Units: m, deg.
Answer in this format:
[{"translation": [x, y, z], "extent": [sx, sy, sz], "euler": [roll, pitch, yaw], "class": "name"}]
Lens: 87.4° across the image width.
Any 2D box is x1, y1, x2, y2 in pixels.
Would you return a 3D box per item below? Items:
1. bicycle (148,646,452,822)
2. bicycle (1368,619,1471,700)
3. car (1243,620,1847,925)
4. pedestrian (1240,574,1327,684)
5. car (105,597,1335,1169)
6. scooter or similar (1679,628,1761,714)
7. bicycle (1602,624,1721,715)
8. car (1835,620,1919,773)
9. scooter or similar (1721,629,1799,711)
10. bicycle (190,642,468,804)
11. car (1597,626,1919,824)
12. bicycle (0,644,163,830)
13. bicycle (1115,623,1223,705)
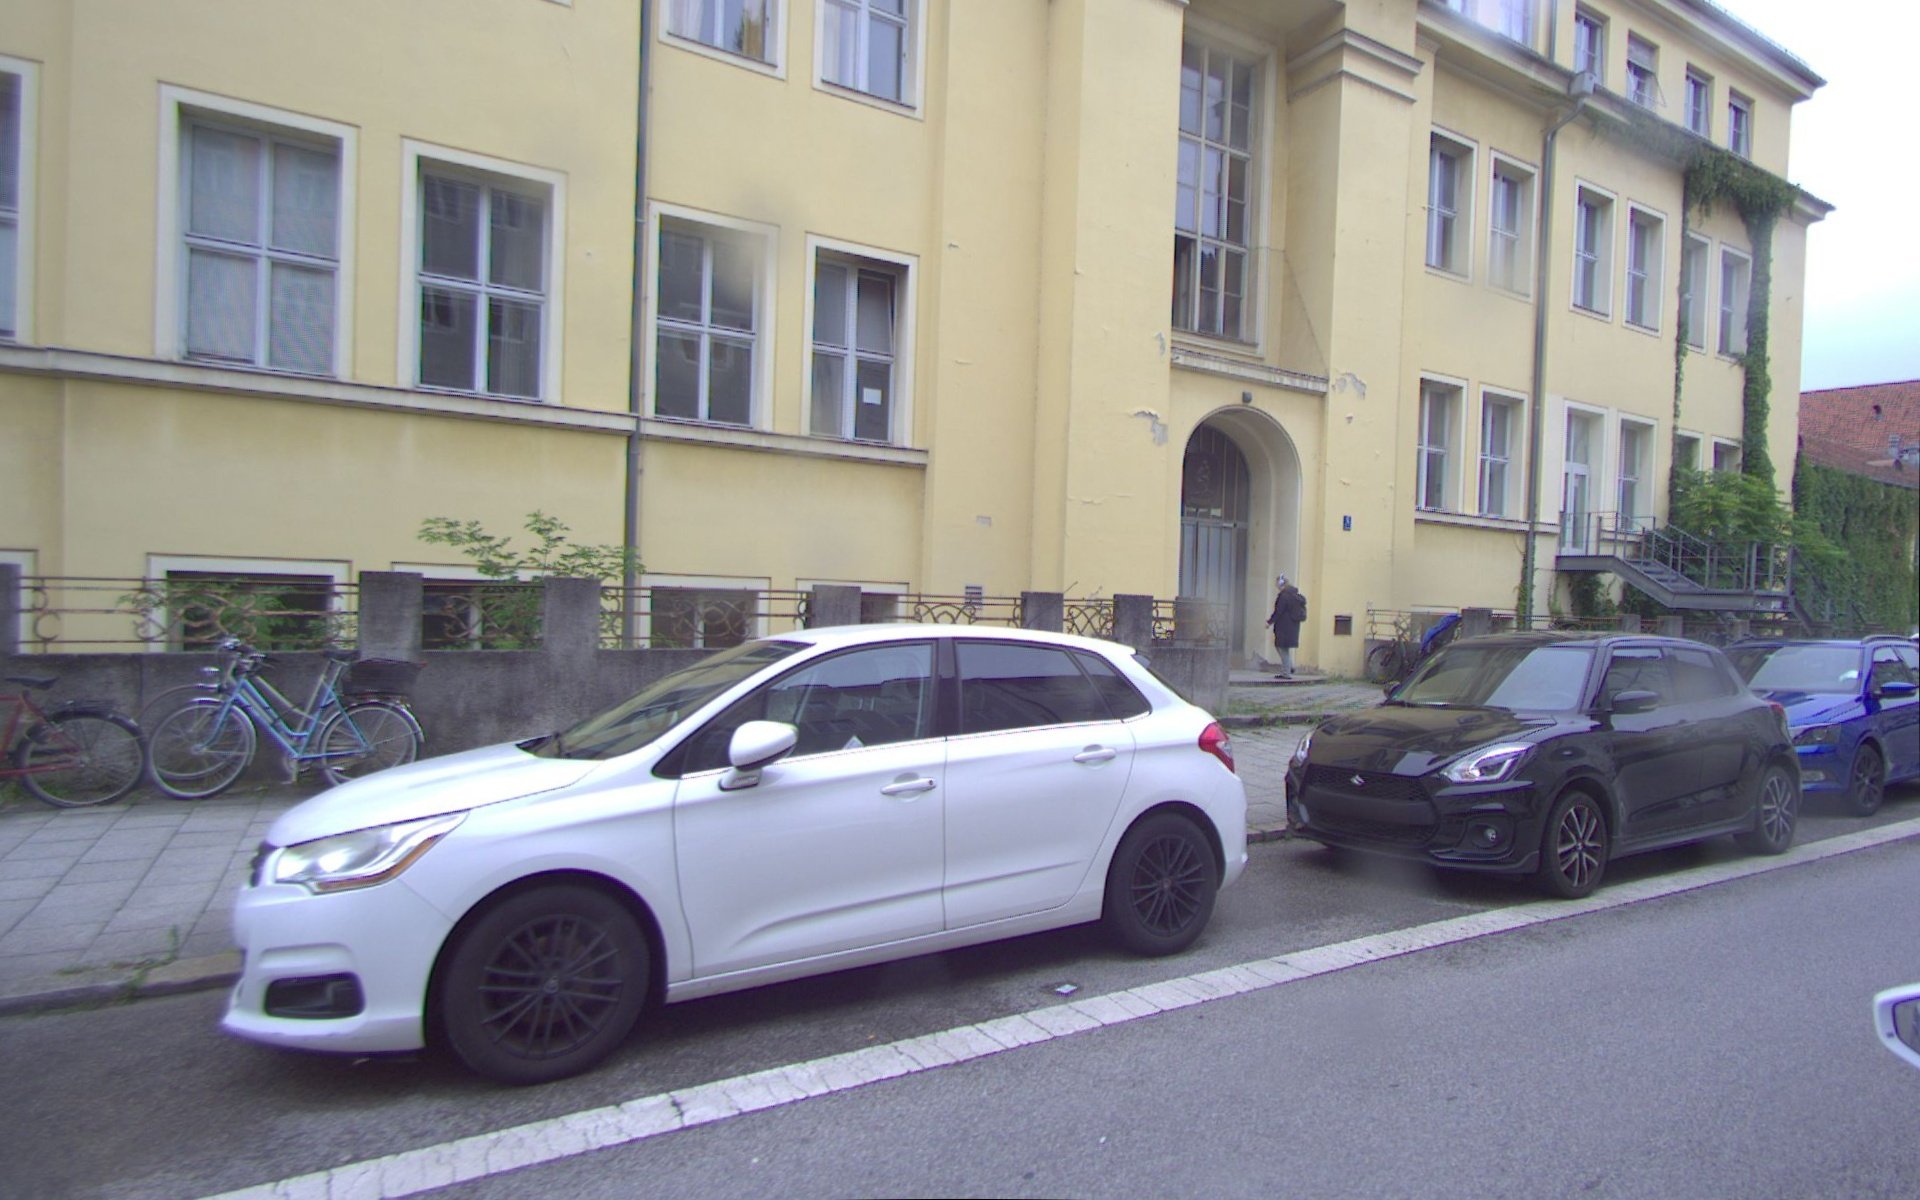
[{"translation": [-4.407, 0.879, 6.828], "extent": [1.615, 1.077, 0.536], "euler": [2, 0, -20], "class": "bicycle"}, {"translation": [7.825, 0.984, 17.168], "extent": [0.520, 1.285, 1.619], "euler": [1, 0, -28], "class": "bicycle"}, {"translation": [4.026, 0.966, 6.786], "extent": [4.099, 1.516, 1.692], "euler": [2, -4, -30], "class": "car"}, {"translation": [5.352, 0.470, 16.648], "extent": [0.896, 1.742, 1.047], "euler": [1, -1, -38], "class": "pedestrian"}, {"translation": [-0.621, 0.802, 4.516], "extent": [4.597, 1.451, 1.776], "euler": [2, 0, -30], "class": "car"}, {"translation": [12.854, 1.178, 16.984], "extent": [1.483, 1.387, 0.557], "euler": [2, 0, -29], "class": "scooter or similar"}, {"translation": [11.153, 1.092, 15.945], "extent": [2.088, 1.346, 0.678], "euler": [2, 0, -29], "class": "bicycle"}, {"translation": [12.492, 1.114, 12.049], "extent": [4.803, 1.655, 1.736], "euler": [2, -2, -32], "class": "car"}, {"translation": [14.166, 1.229, 17.779], "extent": [1.483, 1.387, 0.557], "euler": [2, 0, -29], "class": "scooter or similar"}, {"translation": [-4.548, 0.874, 7.358], "extent": [1.615, 1.077, 0.536], "euler": [2, 0, -20], "class": "bicycle"}, {"translation": [8.212, 1.098, 9.649], "extent": [4.444, 1.521, 1.695], "euler": [2, -5, -31], "class": "car"}, {"translation": [-5.951, 0.823, 6.160], "extent": [1.625, 1.077, 0.570], "euler": [2, 0, -38], "class": "bicycle"}, {"translation": [2.938, 0.875, 14.244], "extent": [0.422, 1.064, 1.645], "euler": [1, -1, -35], "class": "bicycle"}]
